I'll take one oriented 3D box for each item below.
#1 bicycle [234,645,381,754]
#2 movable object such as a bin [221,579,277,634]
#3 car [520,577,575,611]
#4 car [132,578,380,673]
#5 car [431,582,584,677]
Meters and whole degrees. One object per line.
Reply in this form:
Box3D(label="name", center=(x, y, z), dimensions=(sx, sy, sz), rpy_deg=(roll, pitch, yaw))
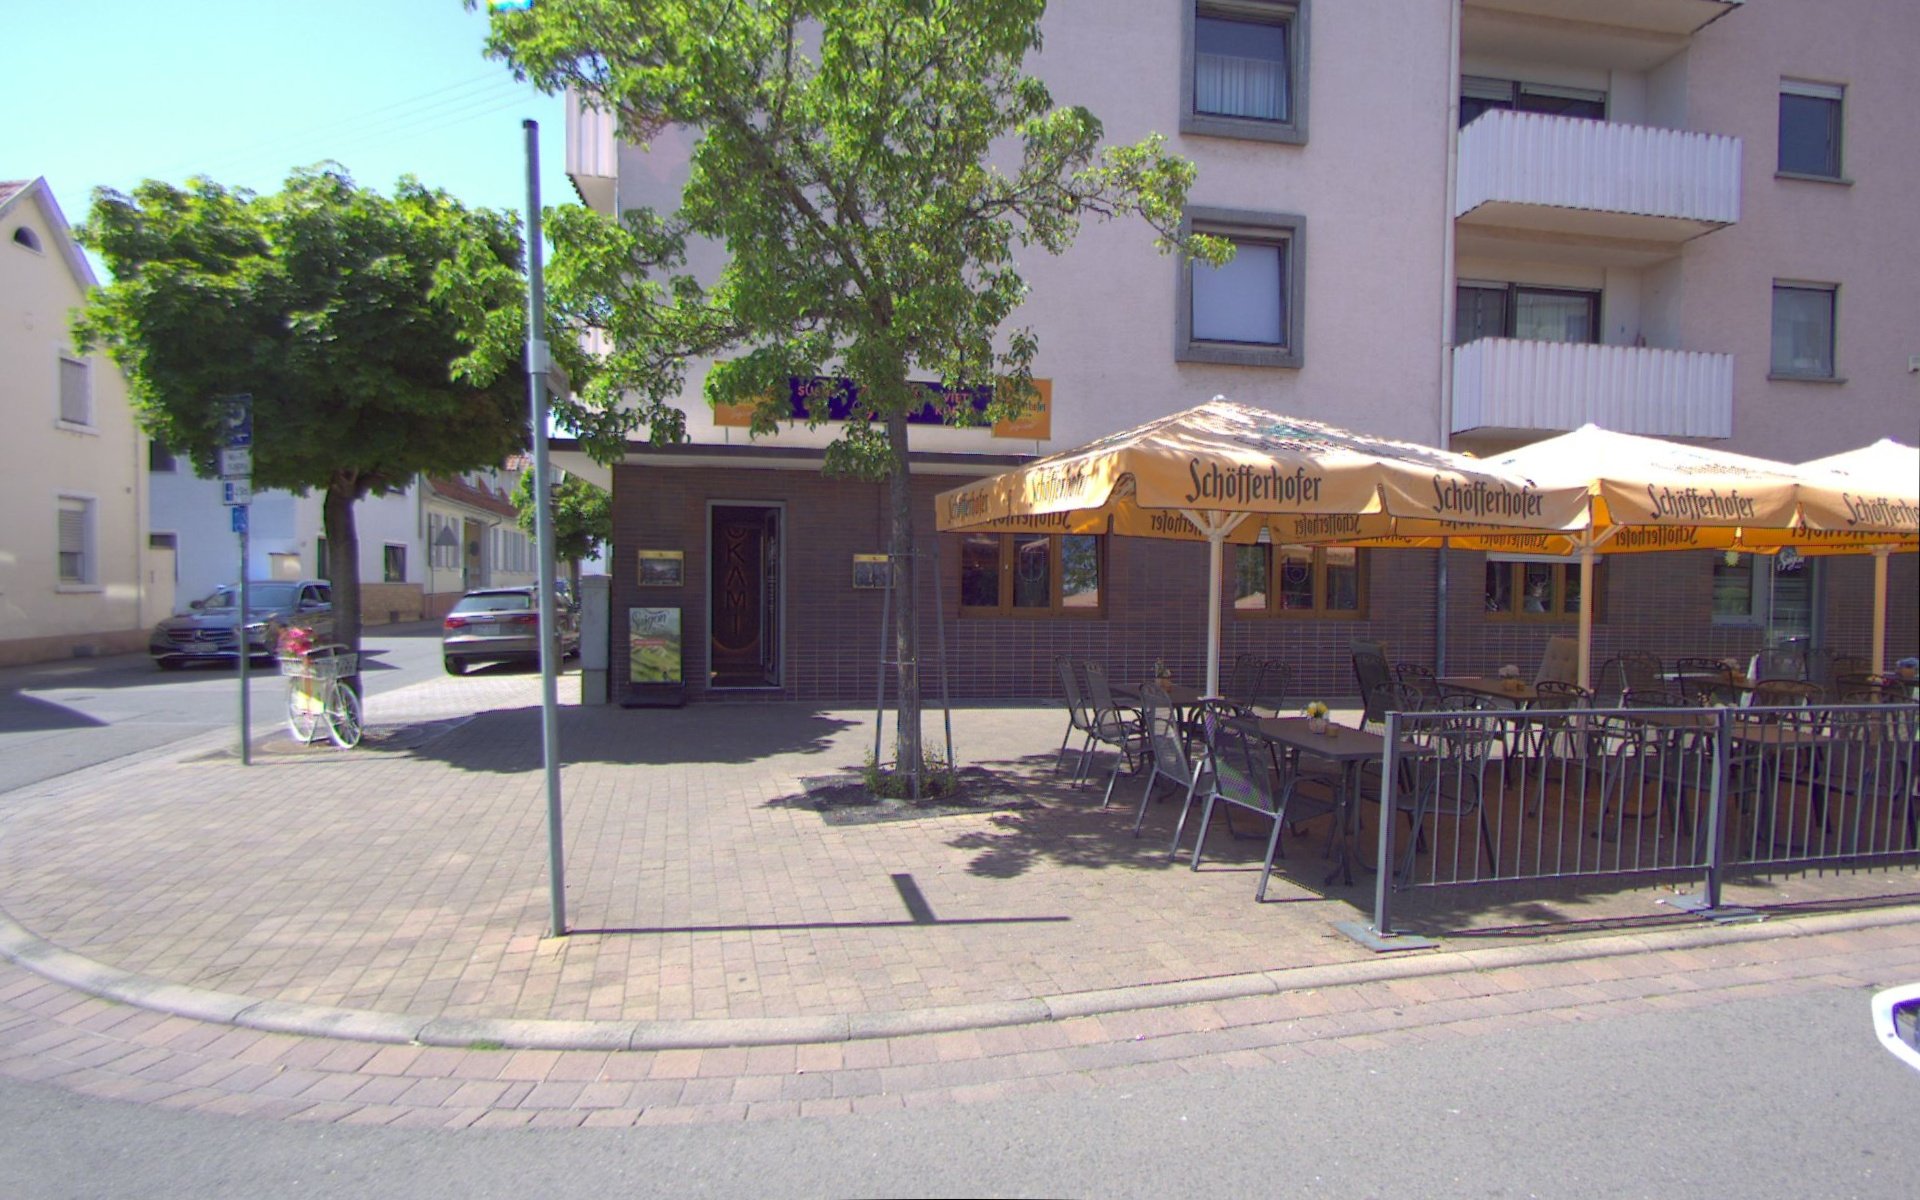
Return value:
Box3D(label="bicycle", center=(-6.047, 0.892, 9.301), dimensions=(1.388, 0.909, 0.464), rpy_deg=(0, 2, 26))
Box3D(label="movable object such as a bin", center=(-18.012, 0.169, 25.451), dimensions=(1.085, 1.384, 0.389), rpy_deg=(0, 1, -8))
Box3D(label="car", center=(-19.241, -0.308, 46.987), dimensions=(1.639, 1.496, 4.125), rpy_deg=(0, 1, -12))
Box3D(label="car", center=(-12.594, 0.375, 18.416), dimensions=(1.881, 1.501, 4.834), rpy_deg=(0, 1, -11))
Box3D(label="car", center=(-7.835, 0.443, 17.710), dimensions=(1.552, 1.473, 3.480), rpy_deg=(-2, 1, -9))
